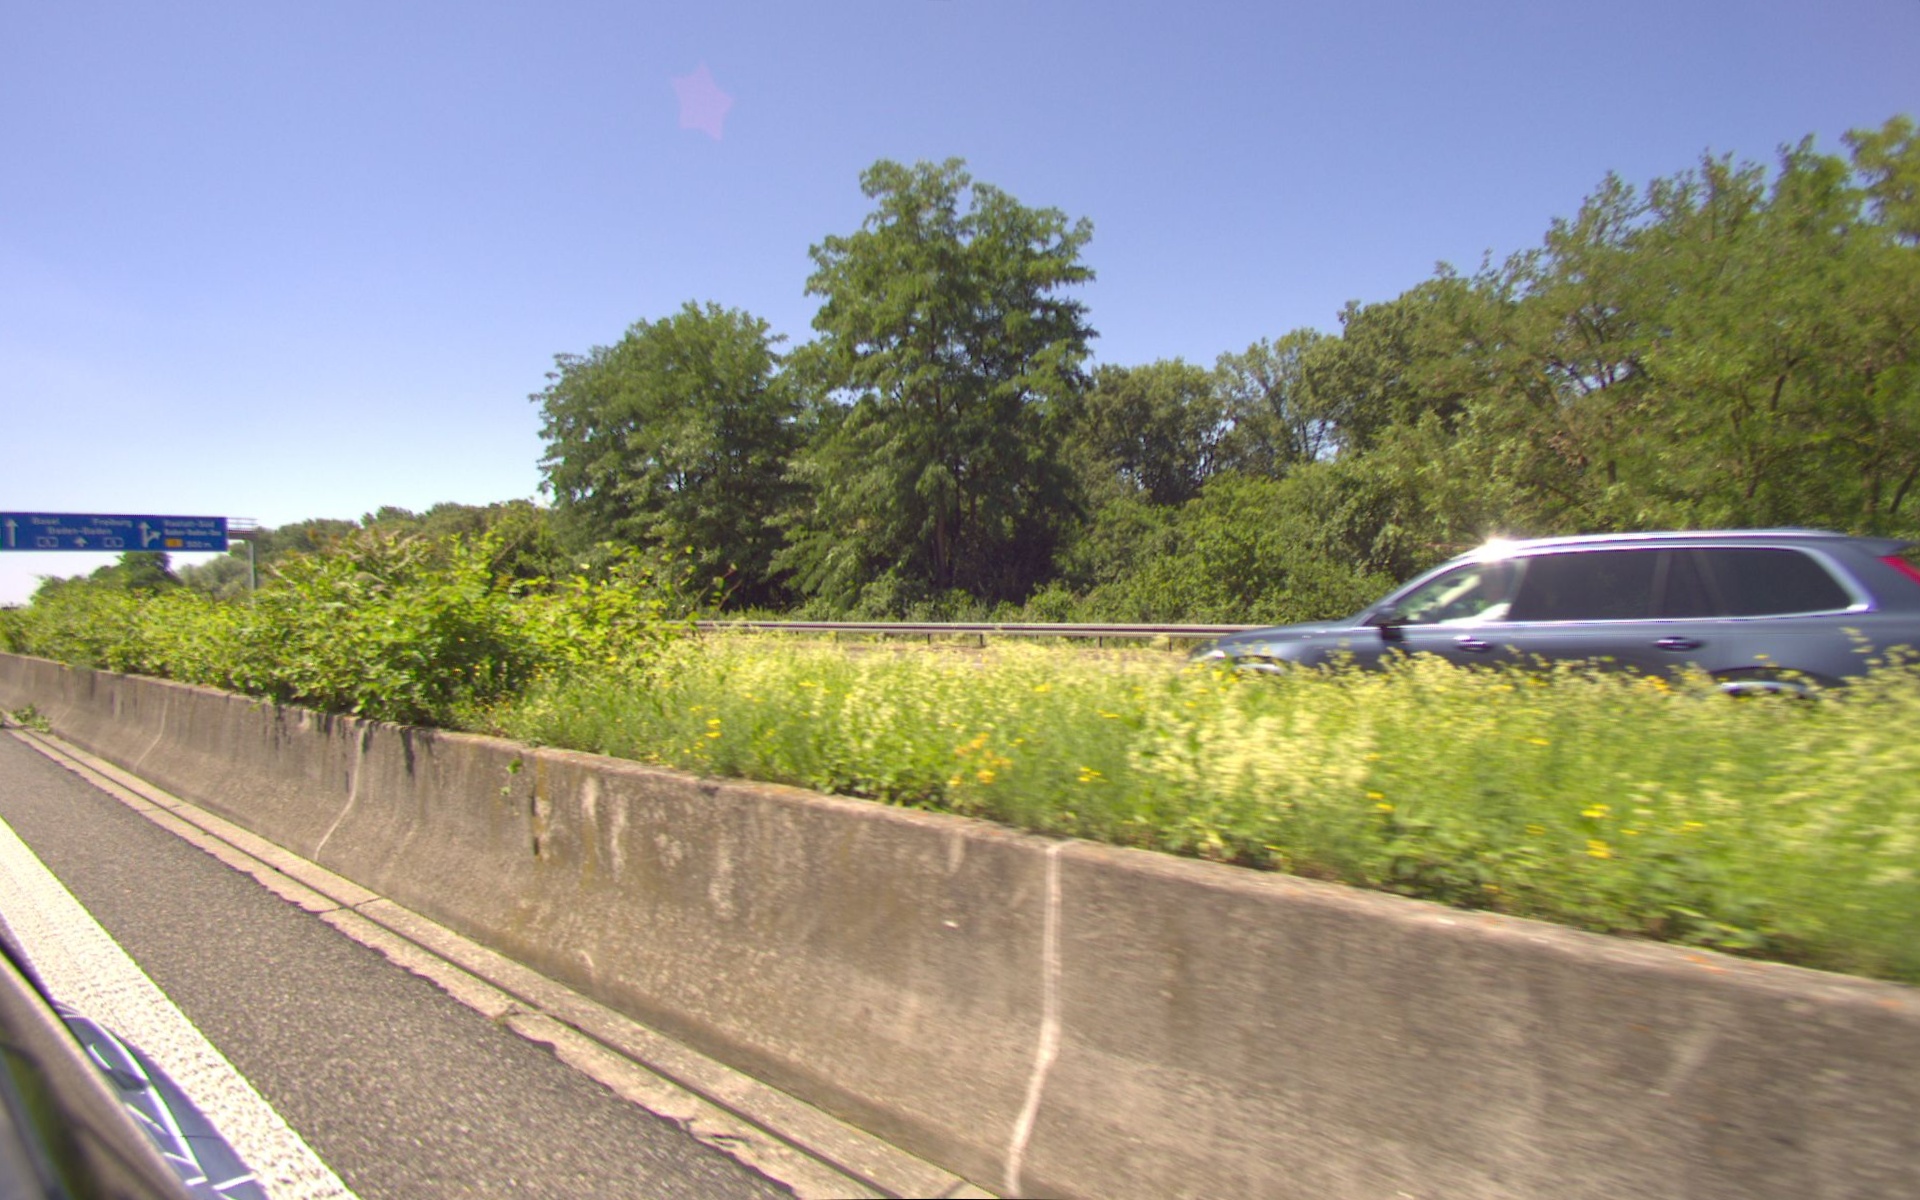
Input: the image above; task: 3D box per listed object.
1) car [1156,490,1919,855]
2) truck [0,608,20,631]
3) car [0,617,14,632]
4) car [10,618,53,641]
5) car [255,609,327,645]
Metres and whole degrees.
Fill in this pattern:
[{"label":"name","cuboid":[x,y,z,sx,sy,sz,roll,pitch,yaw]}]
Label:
[{"label":"car","cuboid":[4.088,0.382,6.939,5.139,1.835,1.855,-1,0,40]},{"label":"truck","cuboid":[-181.909,3.715,192.880,14.498,4.262,3.143,-1,-1,44]},{"label":"car","cuboid":[-101.459,2.577,107.024,3.998,1.586,1.618,-1,-1,41]},{"label":"car","cuboid":[-60.446,1.911,65.856,3.642,1.392,1.680,-1,0,41]},{"label":"car","cuboid":[-33.160,1.330,50.094,4.759,1.699,1.795,-1,-1,41]}]
